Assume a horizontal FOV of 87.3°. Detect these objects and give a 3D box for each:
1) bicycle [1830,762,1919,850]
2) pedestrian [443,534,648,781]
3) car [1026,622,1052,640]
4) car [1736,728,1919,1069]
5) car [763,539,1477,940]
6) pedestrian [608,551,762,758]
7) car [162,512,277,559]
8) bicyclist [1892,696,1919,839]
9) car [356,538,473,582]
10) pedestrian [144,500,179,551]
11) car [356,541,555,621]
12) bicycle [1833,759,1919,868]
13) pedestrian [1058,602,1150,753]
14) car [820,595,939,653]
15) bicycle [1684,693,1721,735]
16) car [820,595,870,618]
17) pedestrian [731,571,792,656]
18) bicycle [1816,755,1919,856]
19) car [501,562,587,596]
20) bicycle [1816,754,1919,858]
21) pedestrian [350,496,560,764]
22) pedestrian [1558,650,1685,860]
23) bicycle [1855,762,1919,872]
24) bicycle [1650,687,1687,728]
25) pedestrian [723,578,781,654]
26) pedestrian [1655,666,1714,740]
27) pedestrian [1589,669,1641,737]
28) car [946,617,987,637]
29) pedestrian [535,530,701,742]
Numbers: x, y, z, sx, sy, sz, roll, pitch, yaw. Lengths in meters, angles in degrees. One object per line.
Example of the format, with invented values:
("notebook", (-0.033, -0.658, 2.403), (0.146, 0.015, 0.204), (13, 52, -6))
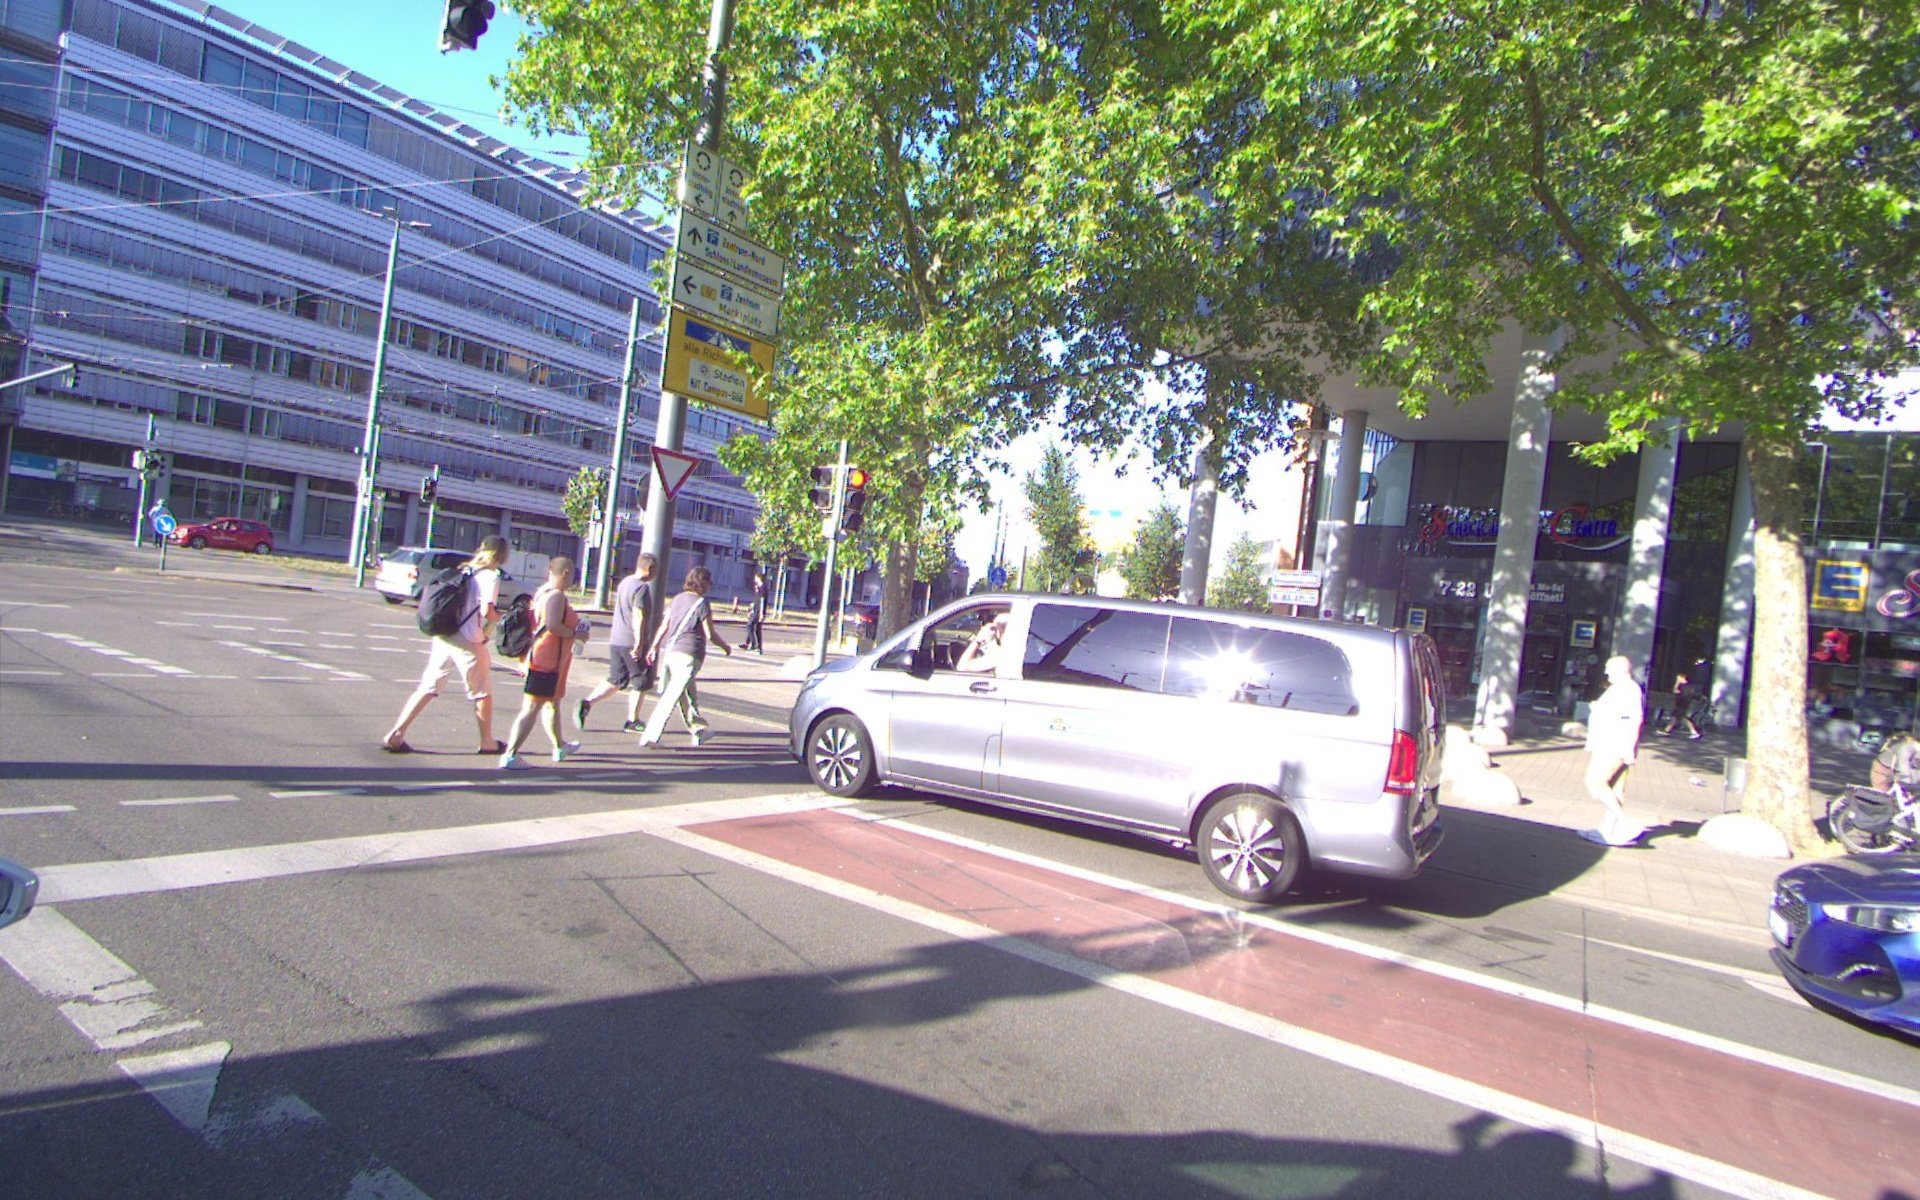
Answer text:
("bicycle", (12.577, 2.740, 12.761), (0.661, 0.945, 2.167), (7, 0, -30))
("pedestrian", (-3.164, 0.433, 7.756), (0.744, 1.702, 1.075), (7, 0, 25))
("car", (7.979, 3.144, 101.087), (1.726, 1.631, 4.002), (7, 0, 15))
("car", (6.443, 1.716, 4.700), (4.147, 1.482, 1.767), (7, 0, 32))
("car", (1.101, 0.823, 8.006), (5.053, 1.988, 1.997), (7, -2, 32))
("pedestrian", (-2.653, 0.526, 9.804), (0.744, 1.828, 1.074), (7, 0, 25))
("car", (-32.188, -2.777, 43.802), (1.767, 1.484, 3.597), (7, 0, 36))
("bicyclist", (12.627, 2.184, 12.762), (0.744, 1.790, 0.845), (6, 1, -30))
("car", (-24.663, -1.788, 45.600), (1.768, 1.409, 4.241), (7, 0, 36))
("pedestrian", (-28.557, -2.653, 35.989), (0.549, 1.701, 0.719), (7, -1, 39))
("car", (-12.275, -0.413, 24.701), (1.794, 1.451, 3.915), (7, -1, 31))
("bicycle", (10.712, 2.421, 11.043), (1.545, 1.038, 0.461), (7, 1, 29))
("pedestrian", (1.804, 0.965, 12.501), (0.617, 1.735, 1.076), (7, -1, 28))
("car", (-2.689, 0.878, 34.817), (1.794, 1.602, 4.491), (7, -1, 29))
("bicycle", (22.459, 3.430, 30.423), (0.709, 1.142, 1.912), (7, 0, 39))
("car", (-9.256, 0.541, 81.288), (1.731, 1.415, 3.990), (7, 0, 33))
("pedestrian", (-4.607, 0.312, 23.339), (0.855, 1.841, 0.845), (7, -1, 39))
("bicycle", (11.511, 2.550, 12.419), (0.393, 1.038, 1.305), (6, 1, -42))
("car", (-23.379, -1.179, 56.636), (1.946, 1.364, 3.986), (7, 0, 37))
("bicycle", (11.184, 2.489, 12.043), (0.393, 1.038, 1.305), (6, 1, -42))
("pedestrian", (-3.931, 0.239, 7.898), (0.725, 1.894, 1.076), (7, 0, 25))
("pedestrian", (6.317, 1.442, 9.660), (0.795, 1.808, 0.873), (7, 1, 31))
("bicycle", (10.451, 2.363, 10.468), (1.545, 1.038, 0.461), (7, 1, 29))
("bicycle", (21.763, 3.290, 30.869), (0.709, 1.142, 1.912), (7, 0, 39))
("pedestrian", (-5.041, 0.398, 24.406), (0.855, 1.701, 0.845), (7, -1, 39))
("pedestrian", (19.997, 2.842, 27.783), (0.990, 1.867, 0.844), (6, 1, -33))
("pedestrian", (17.478, 2.739, 26.866), (0.952, 1.662, 0.864), (7, 1, 32))
("car", (0.630, 2.481, 91.875), (1.731, 1.415, 3.990), (7, 0, 33))
("pedestrian", (-3.397, 0.364, 10.071), (0.818, 1.917, 1.148), (7, 0, 25))
